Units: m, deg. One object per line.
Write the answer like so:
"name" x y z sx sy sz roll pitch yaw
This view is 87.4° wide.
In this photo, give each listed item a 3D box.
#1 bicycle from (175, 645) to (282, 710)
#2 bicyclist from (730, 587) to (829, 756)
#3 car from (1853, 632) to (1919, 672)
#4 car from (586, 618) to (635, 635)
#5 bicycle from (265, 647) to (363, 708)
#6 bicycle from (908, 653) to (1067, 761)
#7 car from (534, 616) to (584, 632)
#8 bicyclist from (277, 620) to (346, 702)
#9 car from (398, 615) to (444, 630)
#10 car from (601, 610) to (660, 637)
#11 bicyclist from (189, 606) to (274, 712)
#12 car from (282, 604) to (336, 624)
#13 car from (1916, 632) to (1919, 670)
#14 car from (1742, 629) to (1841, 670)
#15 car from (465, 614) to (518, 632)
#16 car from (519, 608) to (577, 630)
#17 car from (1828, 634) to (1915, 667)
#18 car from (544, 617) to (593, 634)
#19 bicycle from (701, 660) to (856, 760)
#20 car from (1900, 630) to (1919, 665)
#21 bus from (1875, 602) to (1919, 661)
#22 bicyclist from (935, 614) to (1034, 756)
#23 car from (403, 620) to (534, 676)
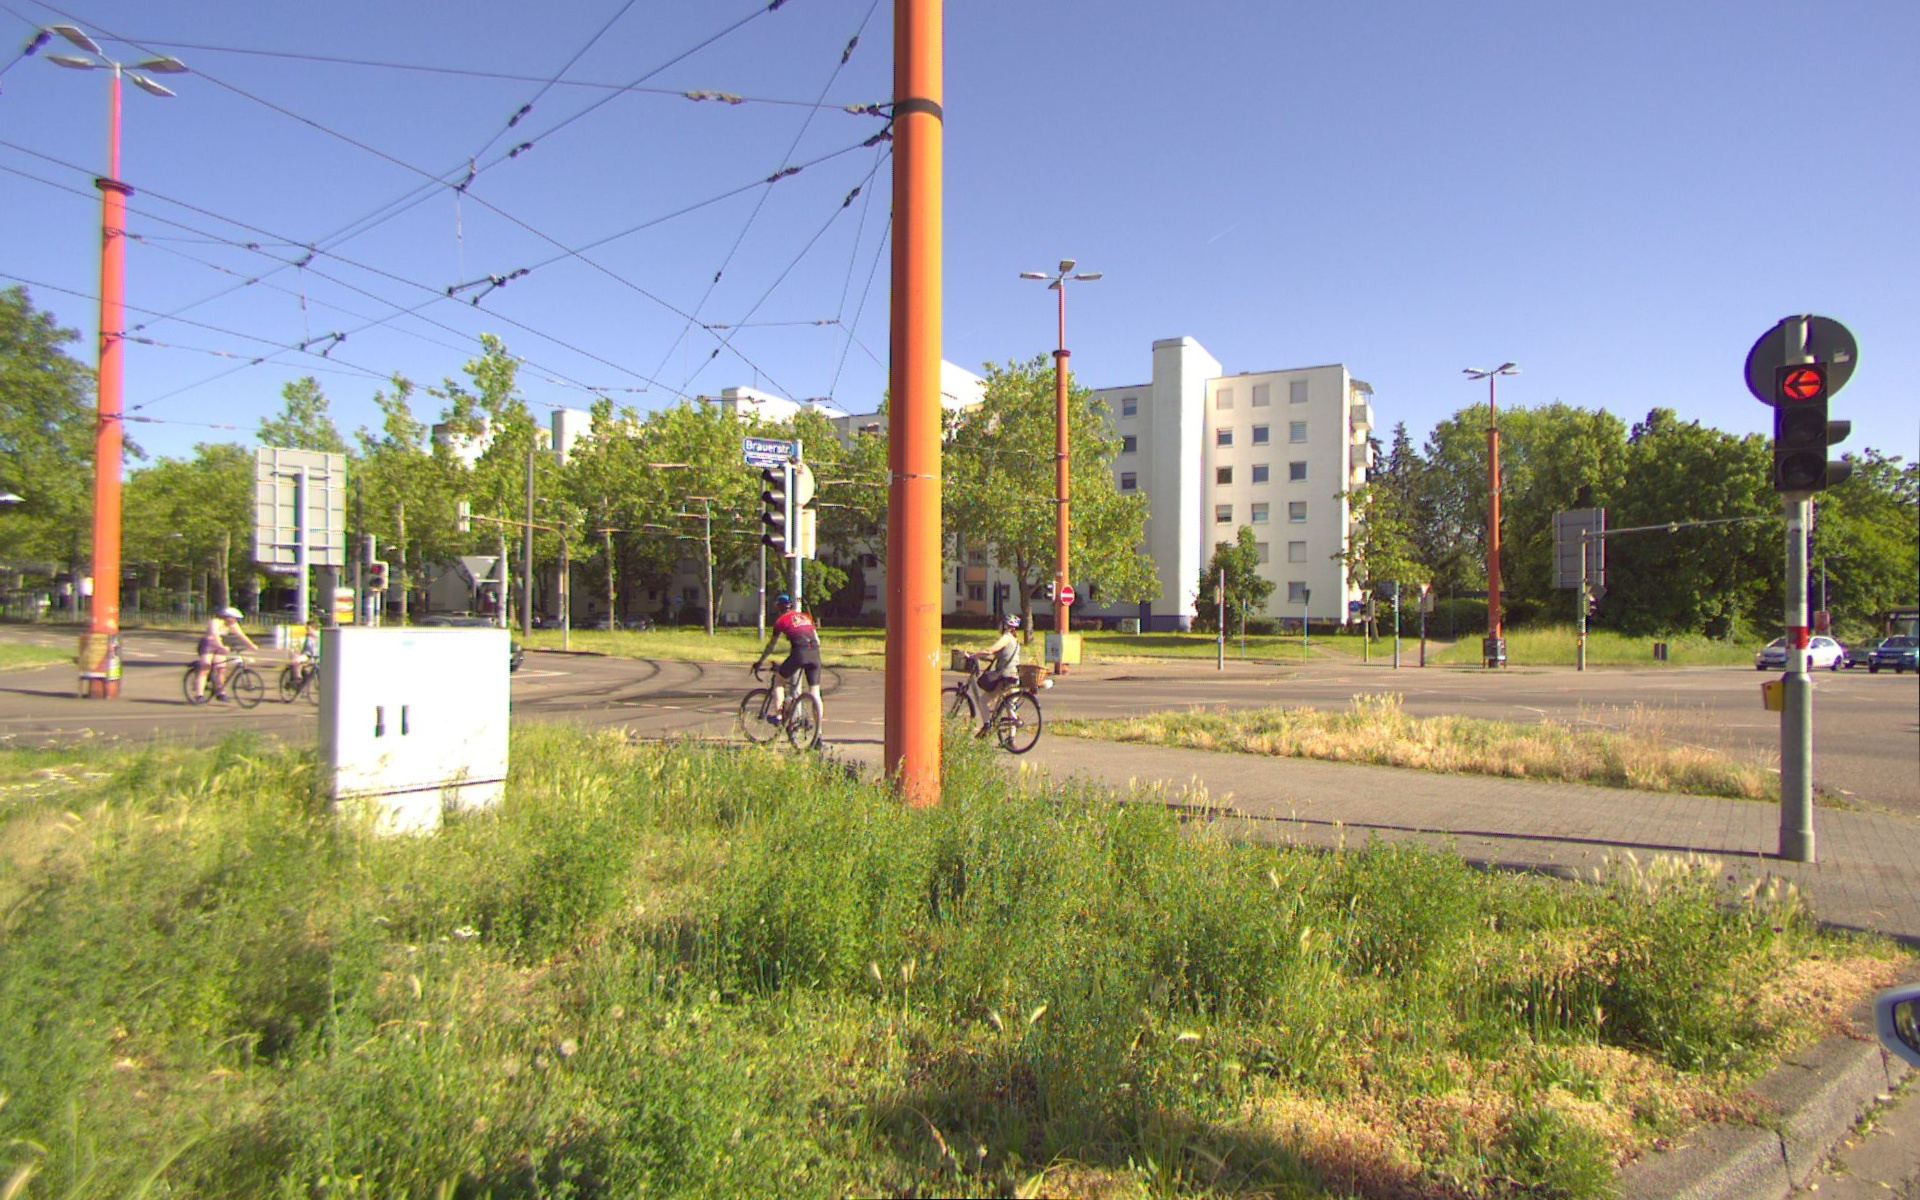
"bicycle" -13.651 1.431 18.735 1.877 1.086 0.580 2 0 17
"bicyclist" -2.166 0.841 12.062 0.974 1.938 0.685 -1 -2 33
"car" 37.288 2.040 39.765 3.813 1.535 1.793 1 -3 -30
"car" -25.840 1.986 74.315 3.279 1.149 1.321 2 0 -11
"bicycle" -12.867 1.528 19.998 1.878 1.086 0.580 2 0 19
"bicycle" 0.306 1.246 12.187 1.887 1.146 0.737 0 -1 41
"car" -30.905 1.847 77.439 3.346 1.162 1.305 2 0 -13
"bicyclist" -12.905 1.195 20.006 0.906 1.545 0.720 2 0 20
"car" -46.635 1.913 86.956 3.370 1.204 1.439 2 0 -23
"car" -23.676 1.693 72.298 3.874 1.841 1.651 2 0 -13
"bicyclist" -13.607 1.075 18.777 0.905 1.892 0.893 2 0 17
"car" -66.310 1.450 102.359 4.274 2.010 1.932 1 -1 -19
"car" 42.598 2.170 42.715 3.955 1.575 1.891 2 -2 -32
"car" 35.358 2.111 42.686 4.168 1.673 1.869 2 -3 -29
"car" -38.849 1.907 83.390 3.665 1.349 1.496 2 0 -8
"car" -32.557 1.496 79.434 3.868 1.614 1.656 2 0 -8
"car" 43.127 2.376 47.531 3.952 1.533 1.877 1 -2 -29
"car" -29.338 1.880 75.342 3.219 1.172 1.357 2 0 -12
"bicycle" -2.206 1.283 12.084 1.883 1.085 0.690 -2 -2 33
"car" 49.088 2.401 50.426 3.930 1.673 1.769 3 -4 -32
"bus" 58.466 1.931 59.405 12.384 3.304 2.634 2 0 -29
"bicyclist" 0.306 0.997 12.228 0.815 1.643 0.888 0 -1 41
"car" -15.230 1.434 31.099 3.977 1.516 1.913 2 0 34
